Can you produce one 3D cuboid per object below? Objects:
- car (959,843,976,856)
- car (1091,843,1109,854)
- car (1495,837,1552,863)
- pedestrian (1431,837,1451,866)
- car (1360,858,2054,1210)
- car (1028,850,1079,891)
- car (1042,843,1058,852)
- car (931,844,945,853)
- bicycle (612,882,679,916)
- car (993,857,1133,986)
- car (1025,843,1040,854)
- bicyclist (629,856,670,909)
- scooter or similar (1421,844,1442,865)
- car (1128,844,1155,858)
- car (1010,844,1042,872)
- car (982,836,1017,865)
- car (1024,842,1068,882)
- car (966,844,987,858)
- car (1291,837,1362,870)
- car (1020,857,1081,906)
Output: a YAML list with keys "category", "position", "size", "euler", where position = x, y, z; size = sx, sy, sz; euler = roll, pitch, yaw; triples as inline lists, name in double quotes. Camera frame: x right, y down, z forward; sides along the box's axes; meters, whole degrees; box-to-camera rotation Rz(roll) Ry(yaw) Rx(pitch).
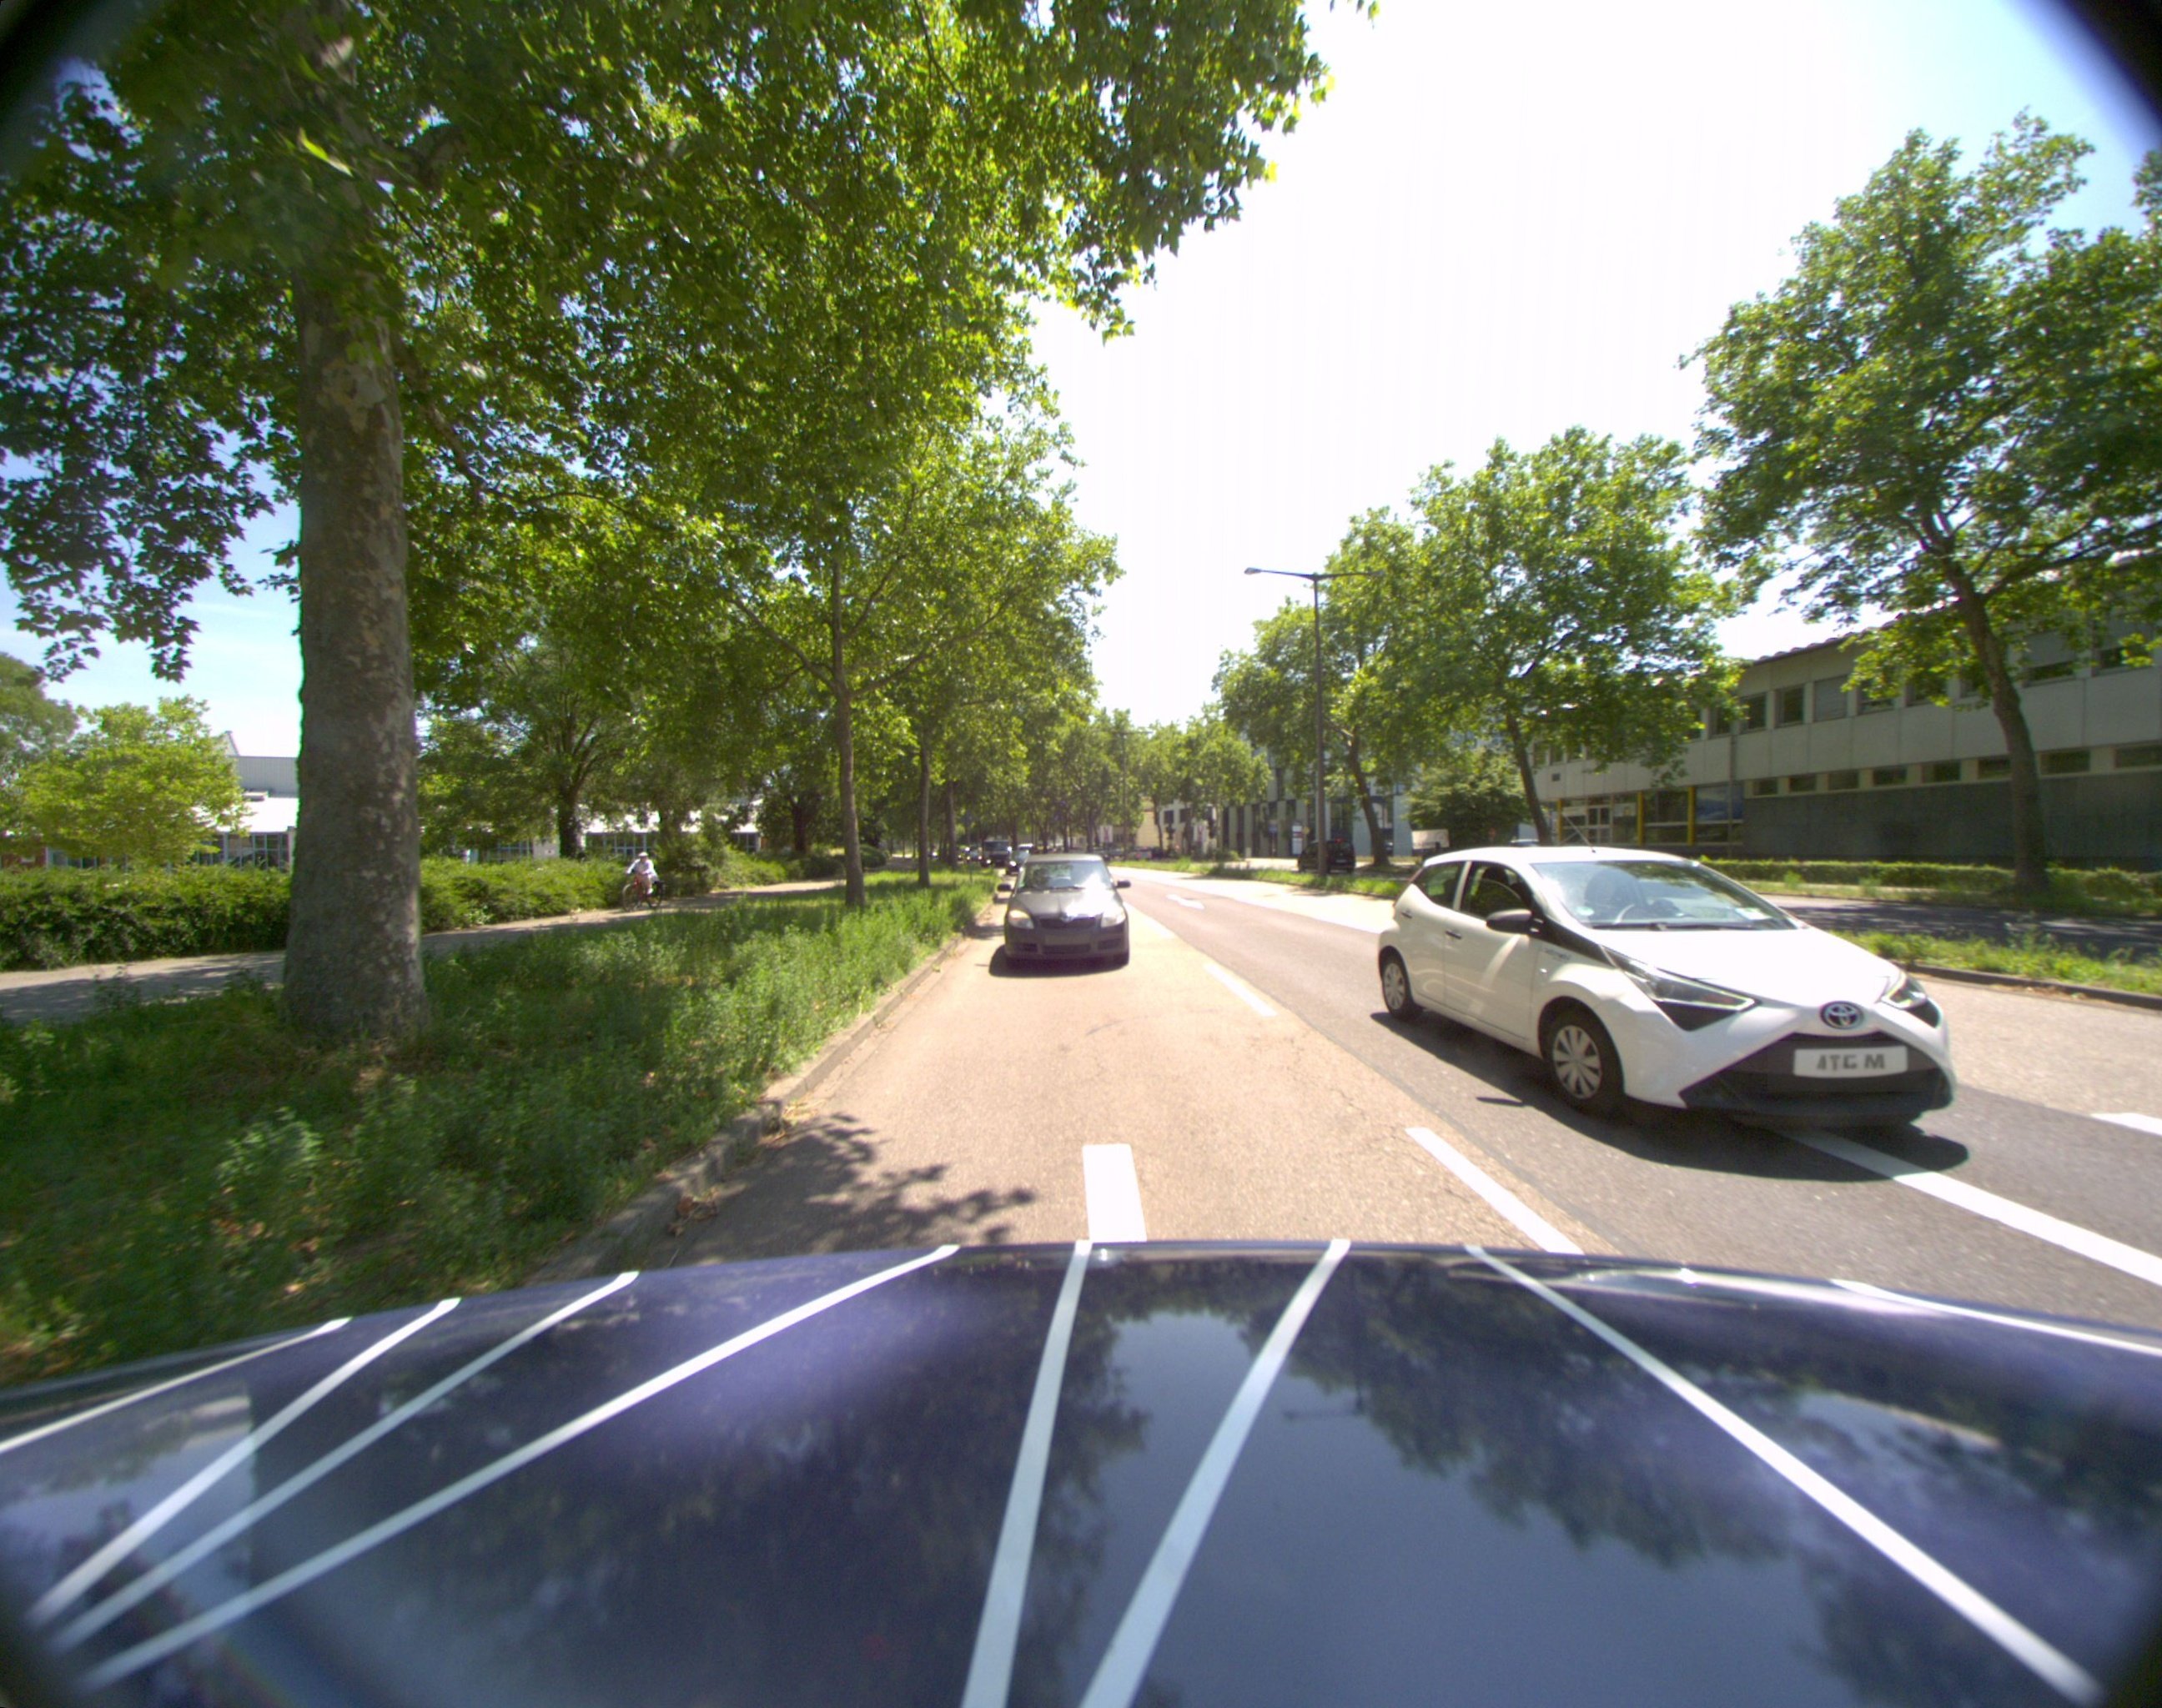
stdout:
- category: "car"
  position: [-16.337, -0.707, 109.157]
  size: [2.001, 1.827, 3.994]
  euler: [-1, 1, -14]
- category: "car"
  position: [2.519, -0.724, 101.562]
  size: [1.737, 1.451, 3.670]
  euler: [-1, 1, -10]
- category: "car"
  position: [30.262, -0.313, 52.018]
  size: [1.820, 1.638, 3.526]
  euler: [-2, 1, 0]
- category: "pedestrian"
  position: [19.921, -0.132, 42.054]
  size: [0.644, 1.551, 0.790]
  euler: [-1, 1, -9]
- category: "car"
  position: [3.372, 0.790, 5.106]
  size: [1.623, 1.437, 3.651]
  euler: [-1, 1, -1]
- category: "car"
  position: [-1.119, 0.623, 30.585]
  size: [1.878, 1.448, 3.784]
  euler: [-2, 1, -3]
- category: "car"
  position: [-5.162, -1.049, 125.928]
  size: [1.758, 1.435, 3.667]
  euler: [-1, 1, -15]
- category: "car"
  position: [-27.273, -1.056, 144.965]
  size: [2.002, 1.827, 3.993]
  euler: [-1, 1, -19]
- category: "bicycle"
  position: [-11.132, 1.139, 19.490]
  size: [0.464, 0.760, 1.670]
  euler: [0, 1, 13]
- category: "car"
  position: [-0.309, 0.816, 11.095]
  size: [1.654, 1.454, 3.863]
  euler: [-1, 1, -3]
- category: "car"
  position: [-8.011, -0.892, 124.946]
  size: [1.956, 1.646, 4.616]
  euler: [-1, 1, -11]
- category: "bicyclist"
  position: [-11.113, 0.717, 19.582]
  size: [0.600, 1.331, 0.667]
  euler: [0, 1, 13]
- category: "scooter or similar"
  position: [19.789, 0.026, 42.890]
  size: [0.680, 1.157, 0.858]
  euler: [-1, 1, -9]
- category: "car"
  position: [6.552, -0.364, 83.230]
  size: [1.859, 1.410, 4.543]
  euler: [-1, 1, -10]
- category: "car"
  position: [-3.651, 0.221, 49.878]
  size: [1.999, 1.783, 3.997]
  euler: [-1, 1, -5]
- category: "car"
  position: [-7.887, -0.371, 72.783]
  size: [2.920, 2.639, 6.359]
  euler: [-1, 1, -10]
- category: "car"
  position: [-1.816, 0.364, 37.842]
  size: [1.999, 1.871, 3.997]
  euler: [-1, 1, -5]
- category: "car"
  position: [-12.916, -0.395, 93.581]
  size: [2.001, 1.608, 3.993]
  euler: [-1, 1, -17]
- category: "car"
  position: [13.017, -0.051, 40.635]
  size: [1.917, 1.669, 4.440]
  euler: [-1, 1, -7]
- category: "car"
  position: [-0.999, 0.828, 24.472]
  size: [1.792, 1.325, 3.741]
  euler: [-2, 1, -3]
